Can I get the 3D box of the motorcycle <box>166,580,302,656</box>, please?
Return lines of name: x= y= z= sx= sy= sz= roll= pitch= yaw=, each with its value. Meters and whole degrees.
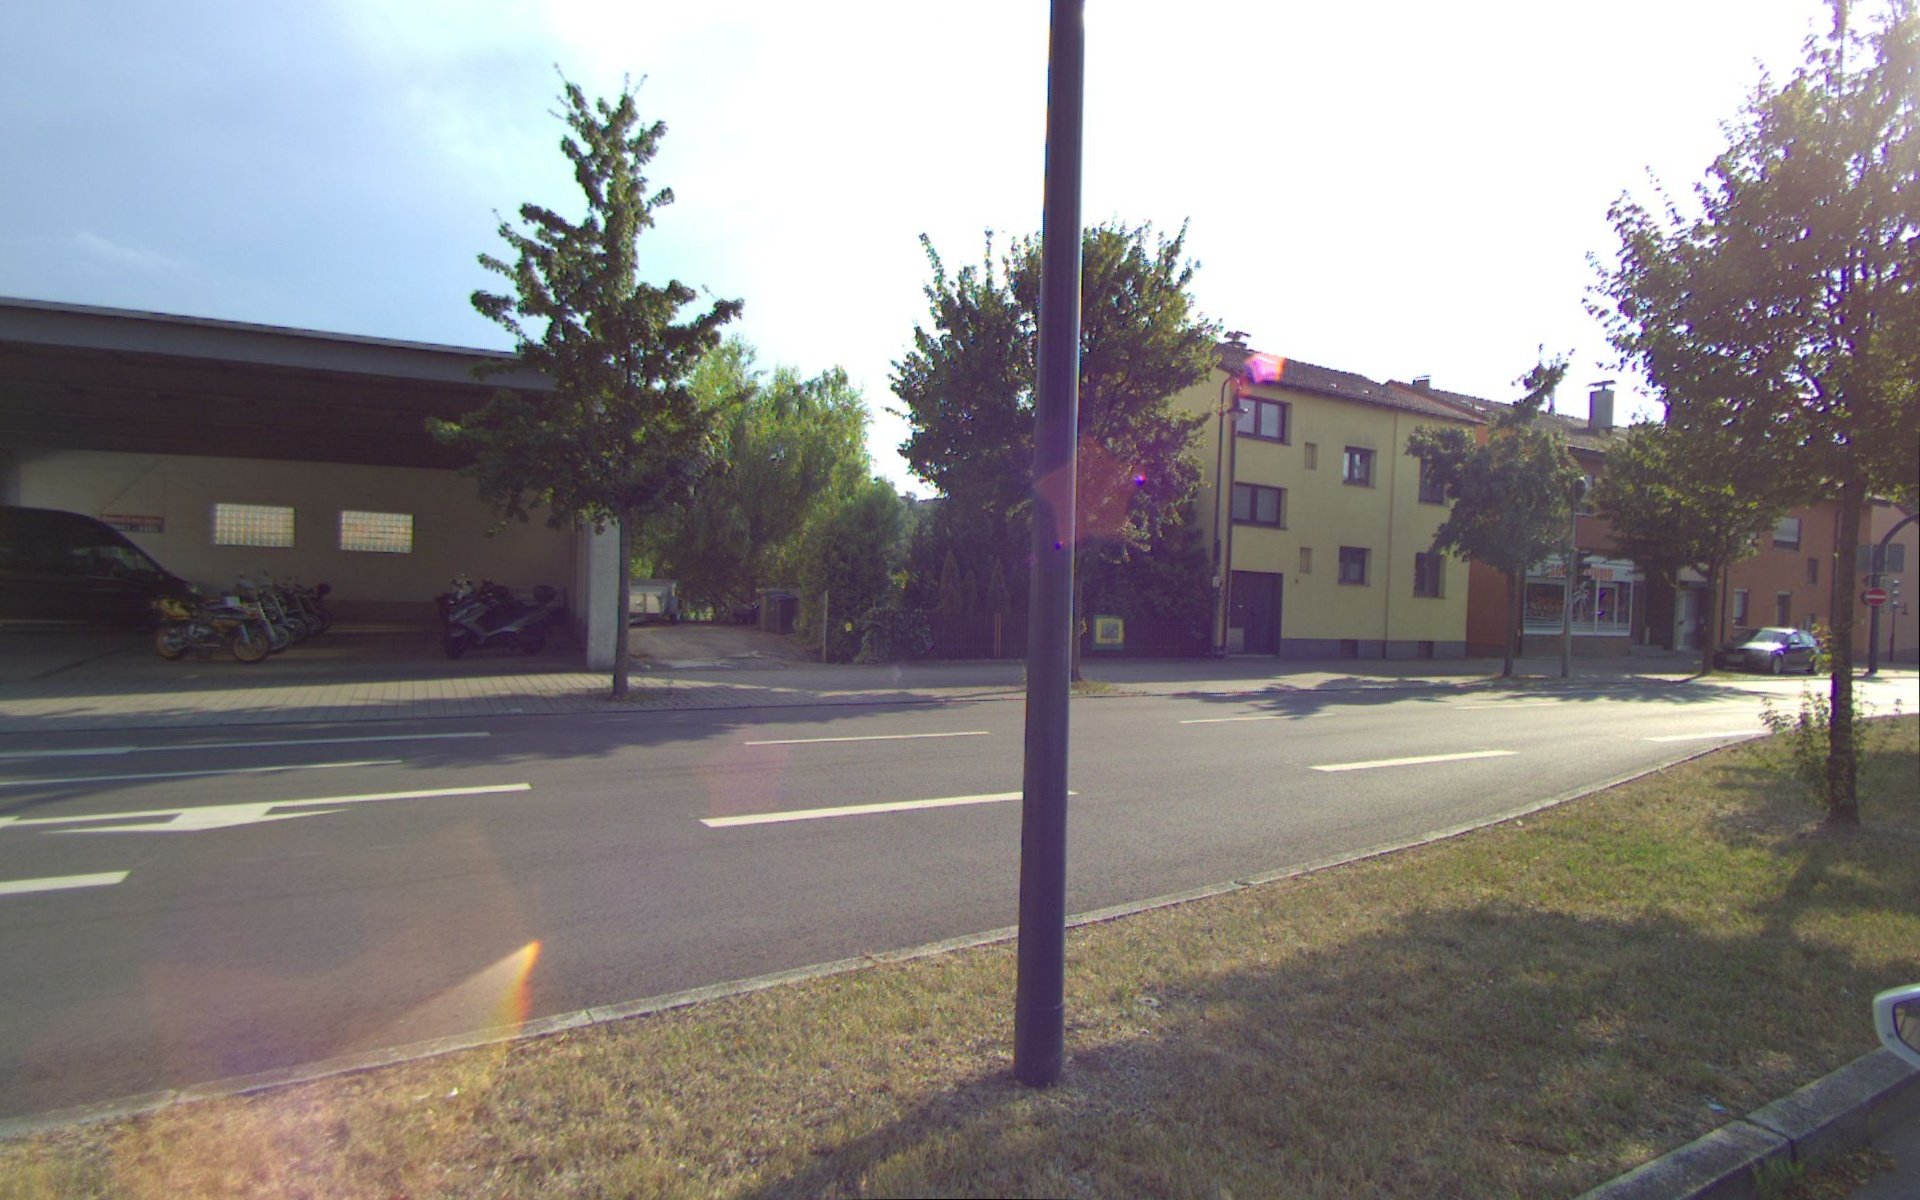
motorcycle: x=-13.549 y=0.329 z=18.771 sx=2.111 sy=1.347 sz=0.563 roll=1 pitch=0 yaw=0

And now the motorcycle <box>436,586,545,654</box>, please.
motorcycle: x=-9.669 y=0.400 z=20.775 sx=0.553 sy=1.325 sz=2.086 roll=1 pitch=0 yaw=30

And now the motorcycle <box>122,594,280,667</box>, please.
motorcycle: x=-12.512 y=0.495 z=16.592 sx=2.111 sy=1.139 sz=0.631 roll=1 pitch=0 yaw=0

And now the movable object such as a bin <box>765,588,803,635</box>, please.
movable object such as a bin: x=-4.343 y=0.273 z=24.813 sx=0.688 sy=1.101 sz=0.727 roll=1 pitch=3 yaw=-30

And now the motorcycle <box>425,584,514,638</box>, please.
motorcycle: x=-12.571 y=0.277 z=25.796 sx=0.553 sy=1.325 sz=2.086 roll=1 pitch=0 yaw=30

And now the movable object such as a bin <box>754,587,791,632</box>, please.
movable object such as a bin: x=-4.784 y=0.244 z=25.585 sx=0.712 sy=1.101 sz=0.727 roll=1 pitch=3 yaw=-30

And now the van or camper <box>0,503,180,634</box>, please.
van or camper: x=-20.488 y=-0.665 z=21.965 sx=1.963 sy=2.716 sz=5.032 roll=1 pitch=0 yaw=27

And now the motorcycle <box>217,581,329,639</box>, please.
motorcycle: x=-15.834 y=0.230 z=23.173 sx=2.111 sy=1.275 sz=0.647 roll=1 pitch=0 yaw=0

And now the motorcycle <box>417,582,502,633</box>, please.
motorcycle: x=-13.513 y=0.212 z=27.164 sx=0.553 sy=1.325 sz=2.086 roll=1 pitch=0 yaw=30

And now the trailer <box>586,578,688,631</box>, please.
trailer: x=-8.118 y=0.073 z=25.520 sx=1.692 sy=1.199 sz=3.594 roll=1 pitch=1 yaw=-5

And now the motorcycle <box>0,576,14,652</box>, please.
motorcycle: x=-17.244 y=0.225 z=16.765 sx=0.637 sy=1.329 sz=2.007 roll=1 pitch=0 yaw=23

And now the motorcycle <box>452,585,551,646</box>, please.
motorcycle: x=-10.481 y=0.343 z=23.042 sx=0.612 sy=1.325 sz=2.086 roll=1 pitch=0 yaw=30

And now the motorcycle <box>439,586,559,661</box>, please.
motorcycle: x=-8.631 y=0.424 z=18.914 sx=0.553 sy=1.325 sz=2.112 roll=1 pitch=0 yaw=30

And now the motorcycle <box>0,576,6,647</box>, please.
motorcycle: x=-18.639 y=0.192 z=18.093 sx=0.637 sy=1.329 sz=2.007 roll=1 pitch=0 yaw=23

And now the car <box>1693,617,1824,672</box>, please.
car: x=25.951 y=1.441 z=32.633 sx=3.949 sy=1.573 sz=1.836 roll=1 pitch=2 yaw=-27

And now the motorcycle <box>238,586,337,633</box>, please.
motorcycle: x=-17.071 y=0.242 z=25.521 sx=2.111 sy=1.138 sz=0.563 roll=1 pitch=0 yaw=0

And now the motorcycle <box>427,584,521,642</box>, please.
motorcycle: x=-11.804 y=0.317 z=24.454 sx=0.573 sy=1.325 sz=2.086 roll=1 pitch=0 yaw=30

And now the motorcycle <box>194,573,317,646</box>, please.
motorcycle: x=-14.713 y=0.195 z=21.003 sx=2.111 sy=1.468 sz=0.594 roll=1 pitch=0 yaw=0
